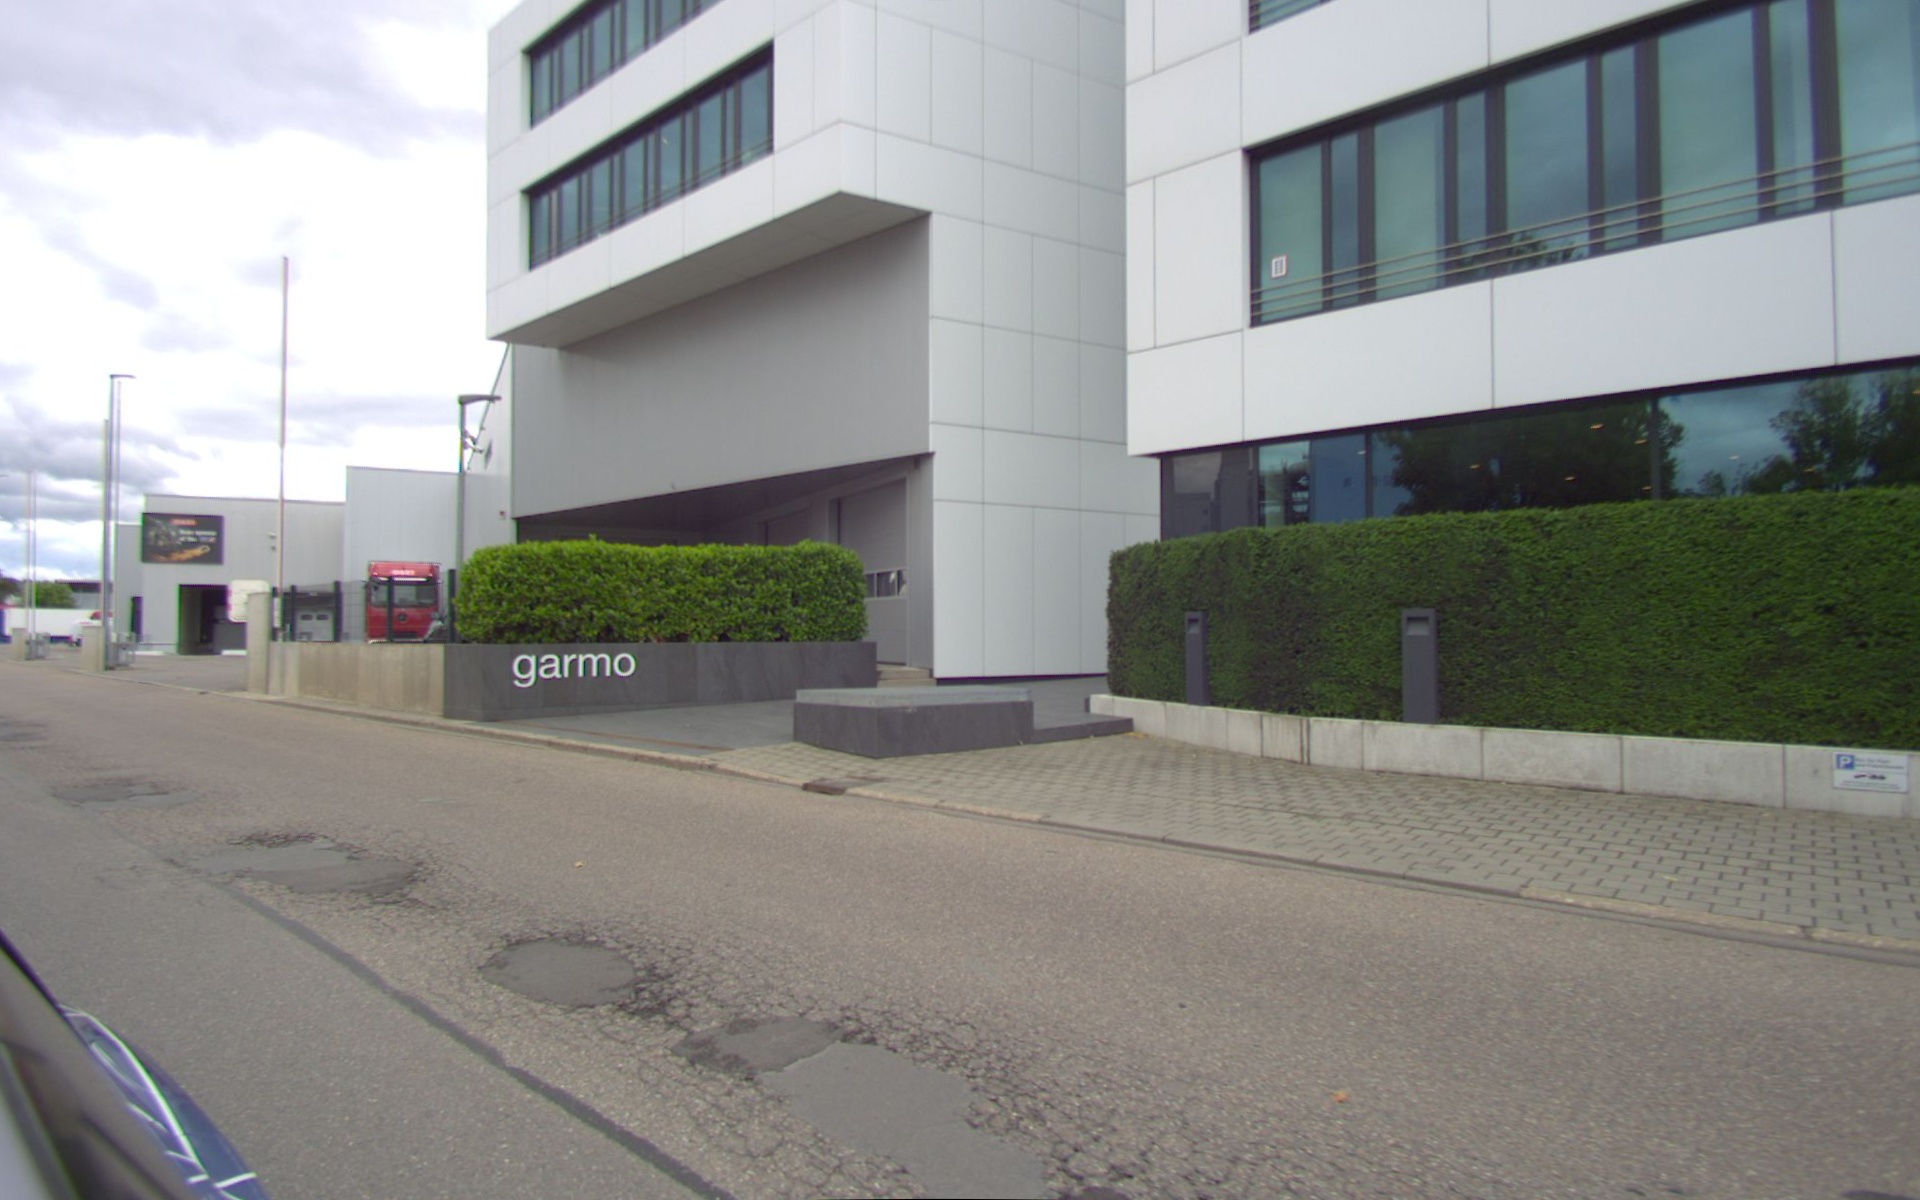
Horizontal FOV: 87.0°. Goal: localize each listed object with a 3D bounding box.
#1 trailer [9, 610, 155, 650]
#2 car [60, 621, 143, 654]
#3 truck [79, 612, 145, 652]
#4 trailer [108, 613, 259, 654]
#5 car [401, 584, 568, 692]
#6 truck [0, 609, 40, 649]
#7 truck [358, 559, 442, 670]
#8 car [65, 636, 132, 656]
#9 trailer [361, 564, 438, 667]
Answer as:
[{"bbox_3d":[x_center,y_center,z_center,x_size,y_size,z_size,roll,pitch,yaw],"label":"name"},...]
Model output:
[{"bbox_3d":[-98.666,3.455,114.075,11.842,4.164,3.057,3,-4,-31],"label":"trailer"},{"bbox_3d":[-76.298,3.330,90.033,5.341,2.751,2.248,-1,-2,-31],"label":"car"},{"bbox_3d":[-93.264,3.591,111.350,4.797,4.237,3.058,3,-4,-27],"label":"truck"},{"bbox_3d":[-87.410,3.851,114.369,12.962,4.245,3.058,3,-4,-27],"label":"trailer"},{"bbox_3d":[-8.666,0.665,18.366,3.178,1.775,1.633,-2,-1,42],"label":"car"},{"bbox_3d":[-103.737,3.157,110.177,3.047,4.164,4.815,-2,-4,41],"label":"truck"},{"bbox_3d":[-22.481,0.645,40.668,2.704,4.062,7.114,0,-2,-29],"label":"truck"},{"bbox_3d":[-73.300,3.897,86.145,4.010,1.589,1.950,-1,-2,-28],"label":"car"},{"bbox_3d":[-25.443,0.840,45.990,2.704,4.062,12.656,0,-2,-29],"label":"trailer"}]
